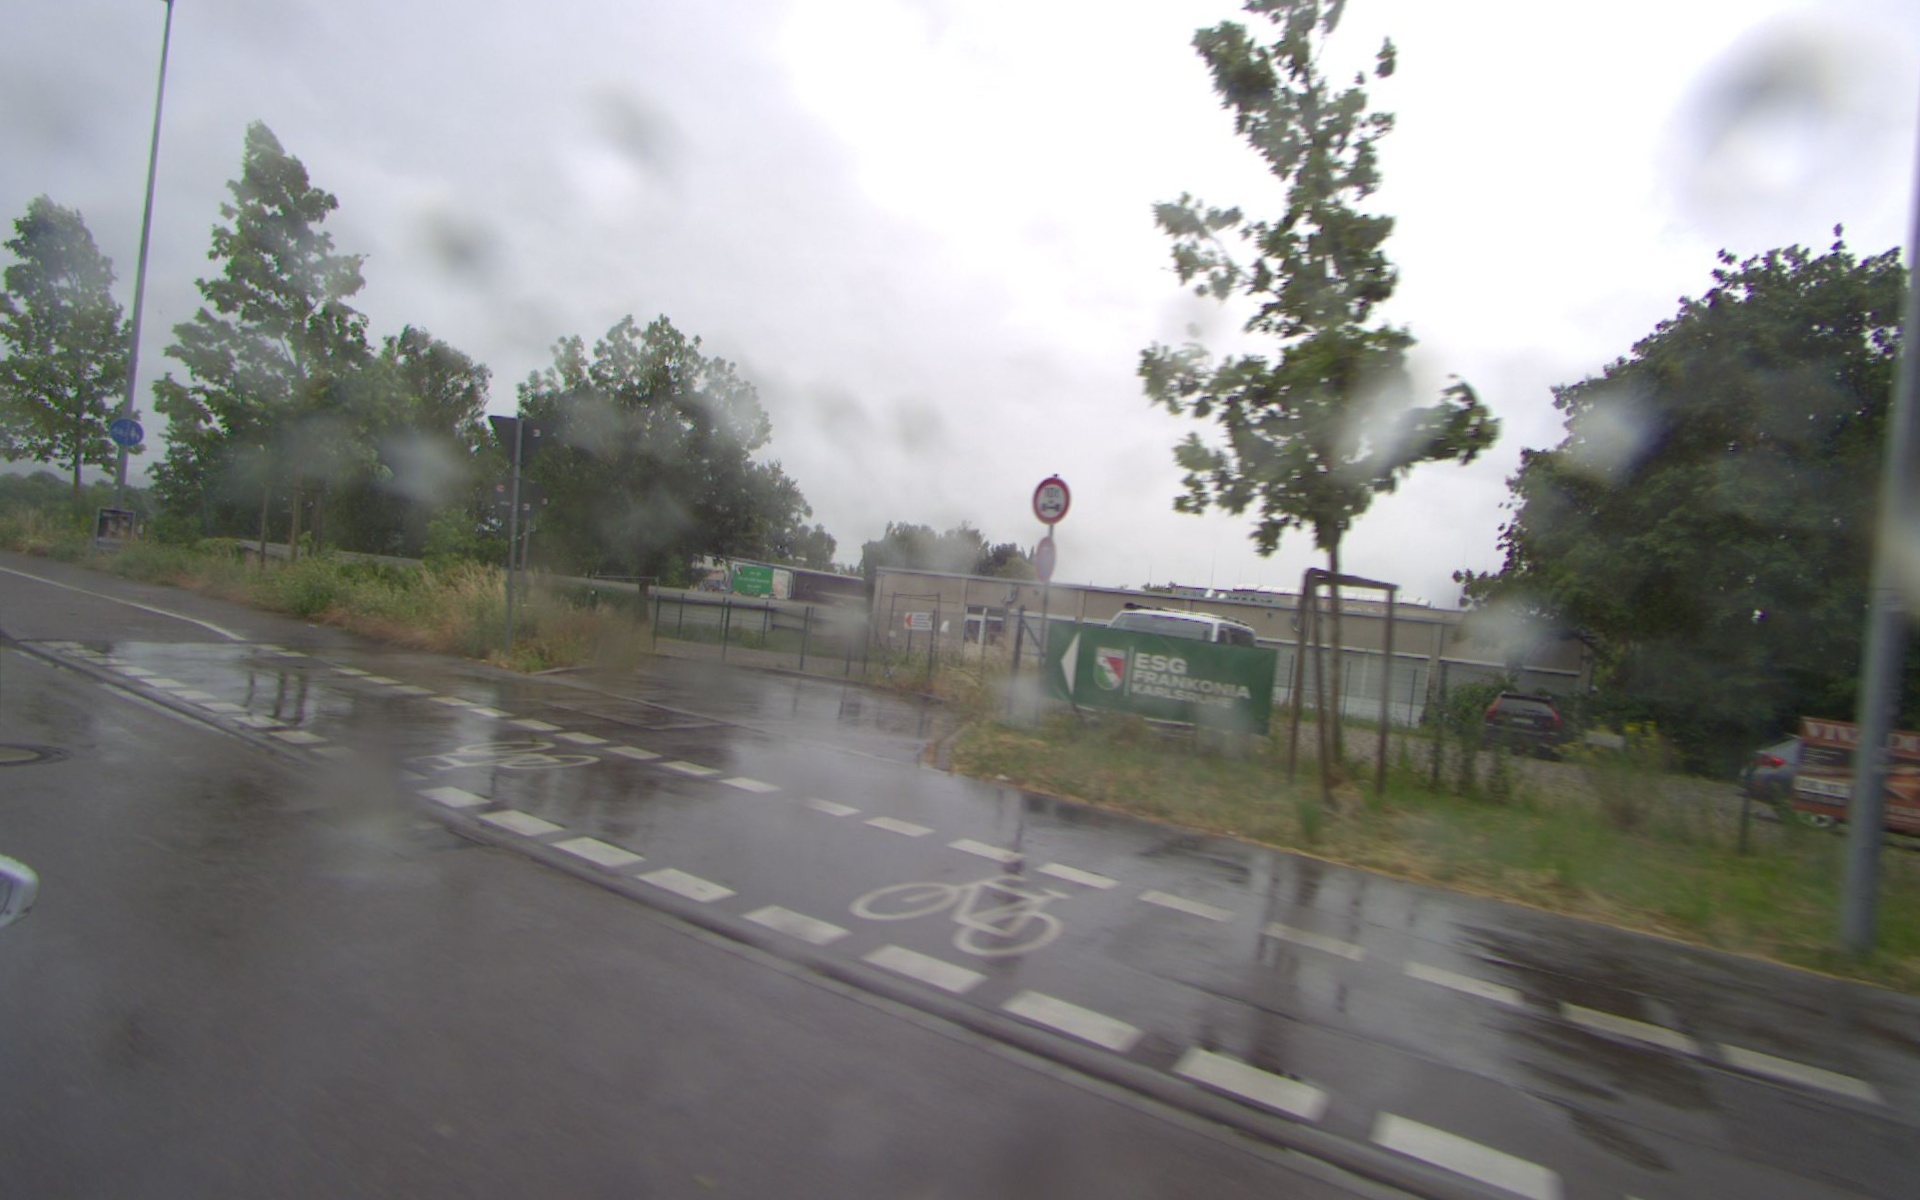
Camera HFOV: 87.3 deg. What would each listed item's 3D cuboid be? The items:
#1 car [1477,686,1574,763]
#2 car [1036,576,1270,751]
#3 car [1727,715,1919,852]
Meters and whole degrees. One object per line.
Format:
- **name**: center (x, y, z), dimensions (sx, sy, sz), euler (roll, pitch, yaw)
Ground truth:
- **car**: center (15.118, 3.309, 26.974), dimensions (1.966, 1.636, 3.998), euler (6, -3, 30)
- **car**: center (3.190, 1.056, 15.454), dimensions (1.965, 2.036, 5.266), euler (6, -3, 27)
- **car**: center (14.946, 3.069, 16.105), dimensions (3.936, 1.636, 1.996), euler (10, 0, 35)
